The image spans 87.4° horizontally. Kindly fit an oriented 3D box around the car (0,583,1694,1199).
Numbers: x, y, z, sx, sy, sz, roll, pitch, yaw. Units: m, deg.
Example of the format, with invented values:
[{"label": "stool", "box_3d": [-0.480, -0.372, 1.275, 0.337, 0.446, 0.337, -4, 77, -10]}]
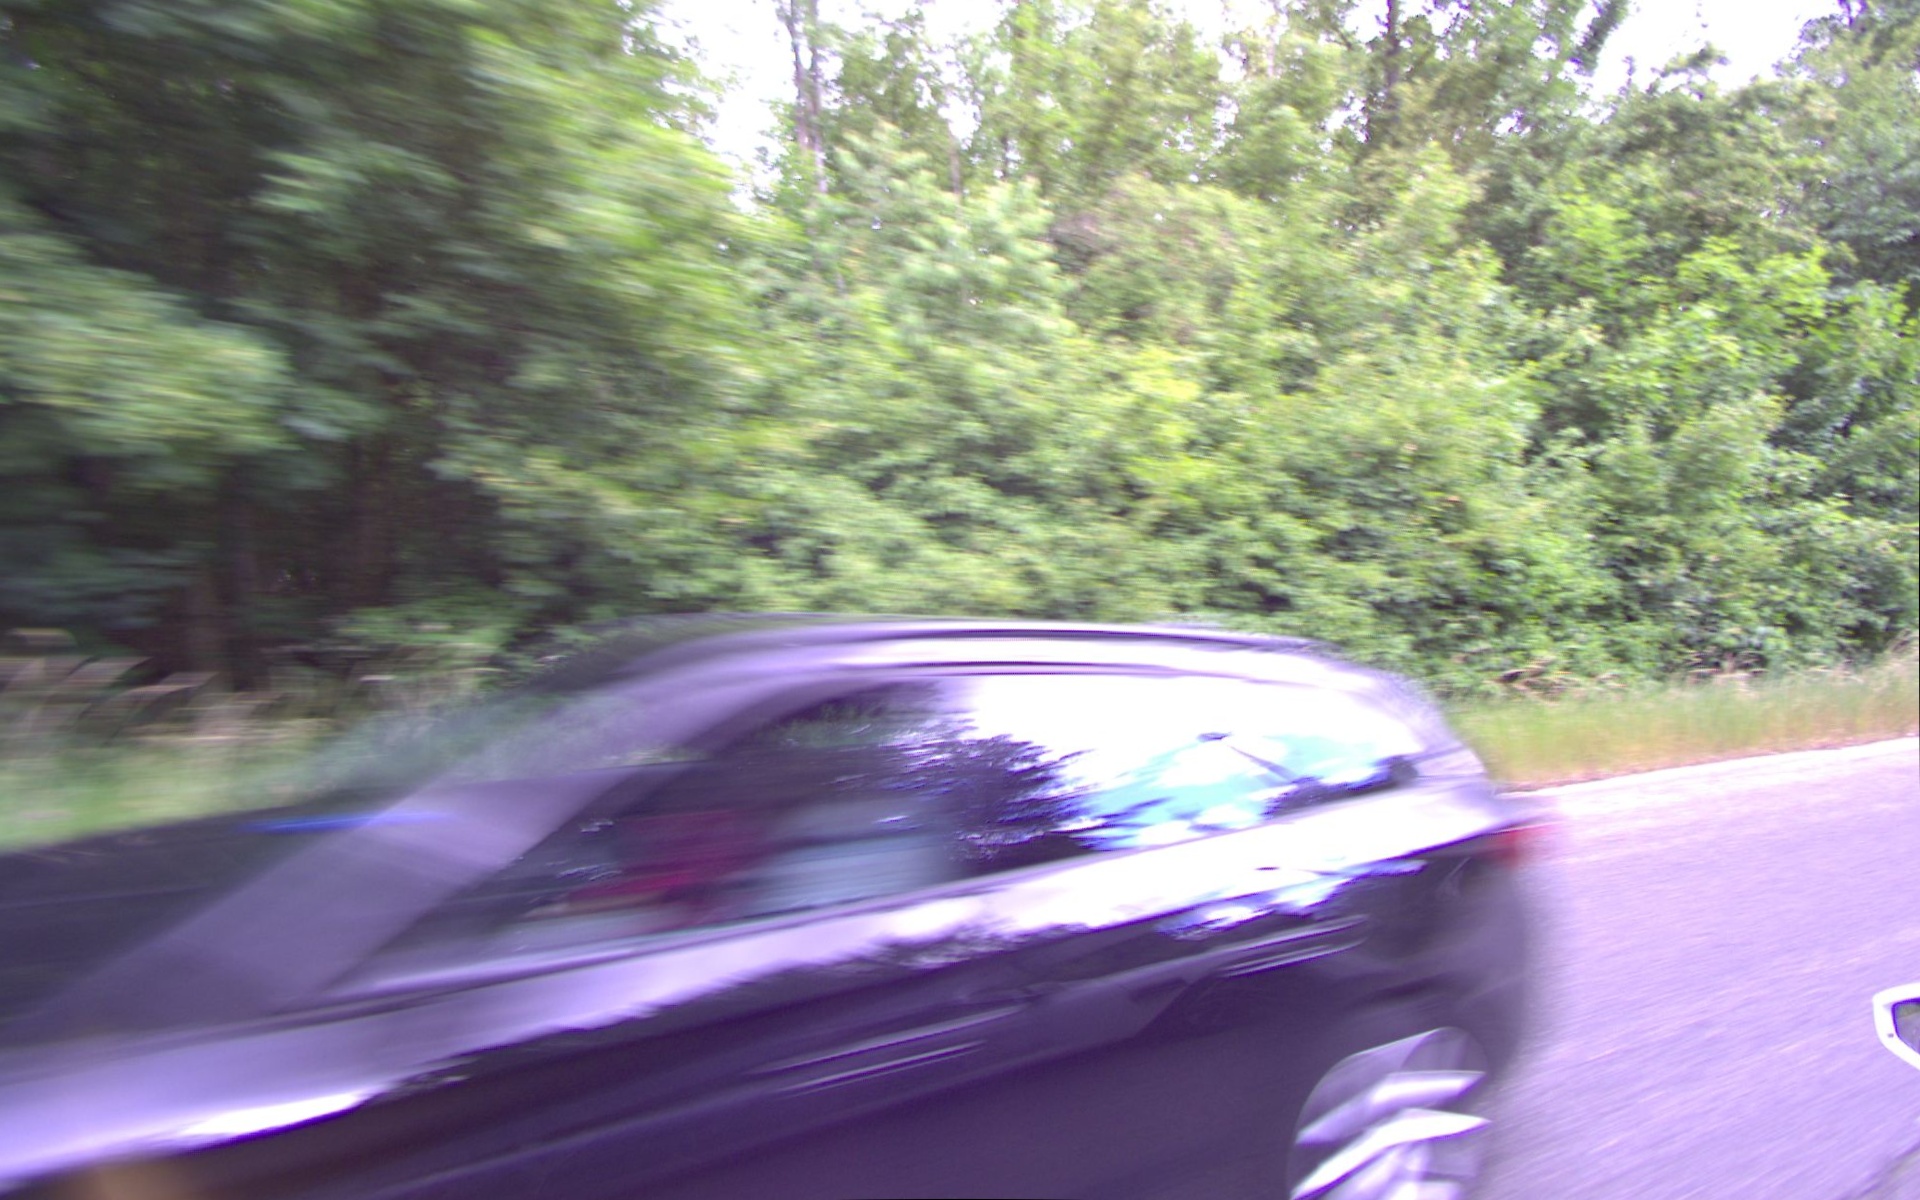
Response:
[{"label": "car", "box_3d": [-0.472, 0.730, 2.264, 4.607, 1.453, 1.793, 1, 1, -31]}]
